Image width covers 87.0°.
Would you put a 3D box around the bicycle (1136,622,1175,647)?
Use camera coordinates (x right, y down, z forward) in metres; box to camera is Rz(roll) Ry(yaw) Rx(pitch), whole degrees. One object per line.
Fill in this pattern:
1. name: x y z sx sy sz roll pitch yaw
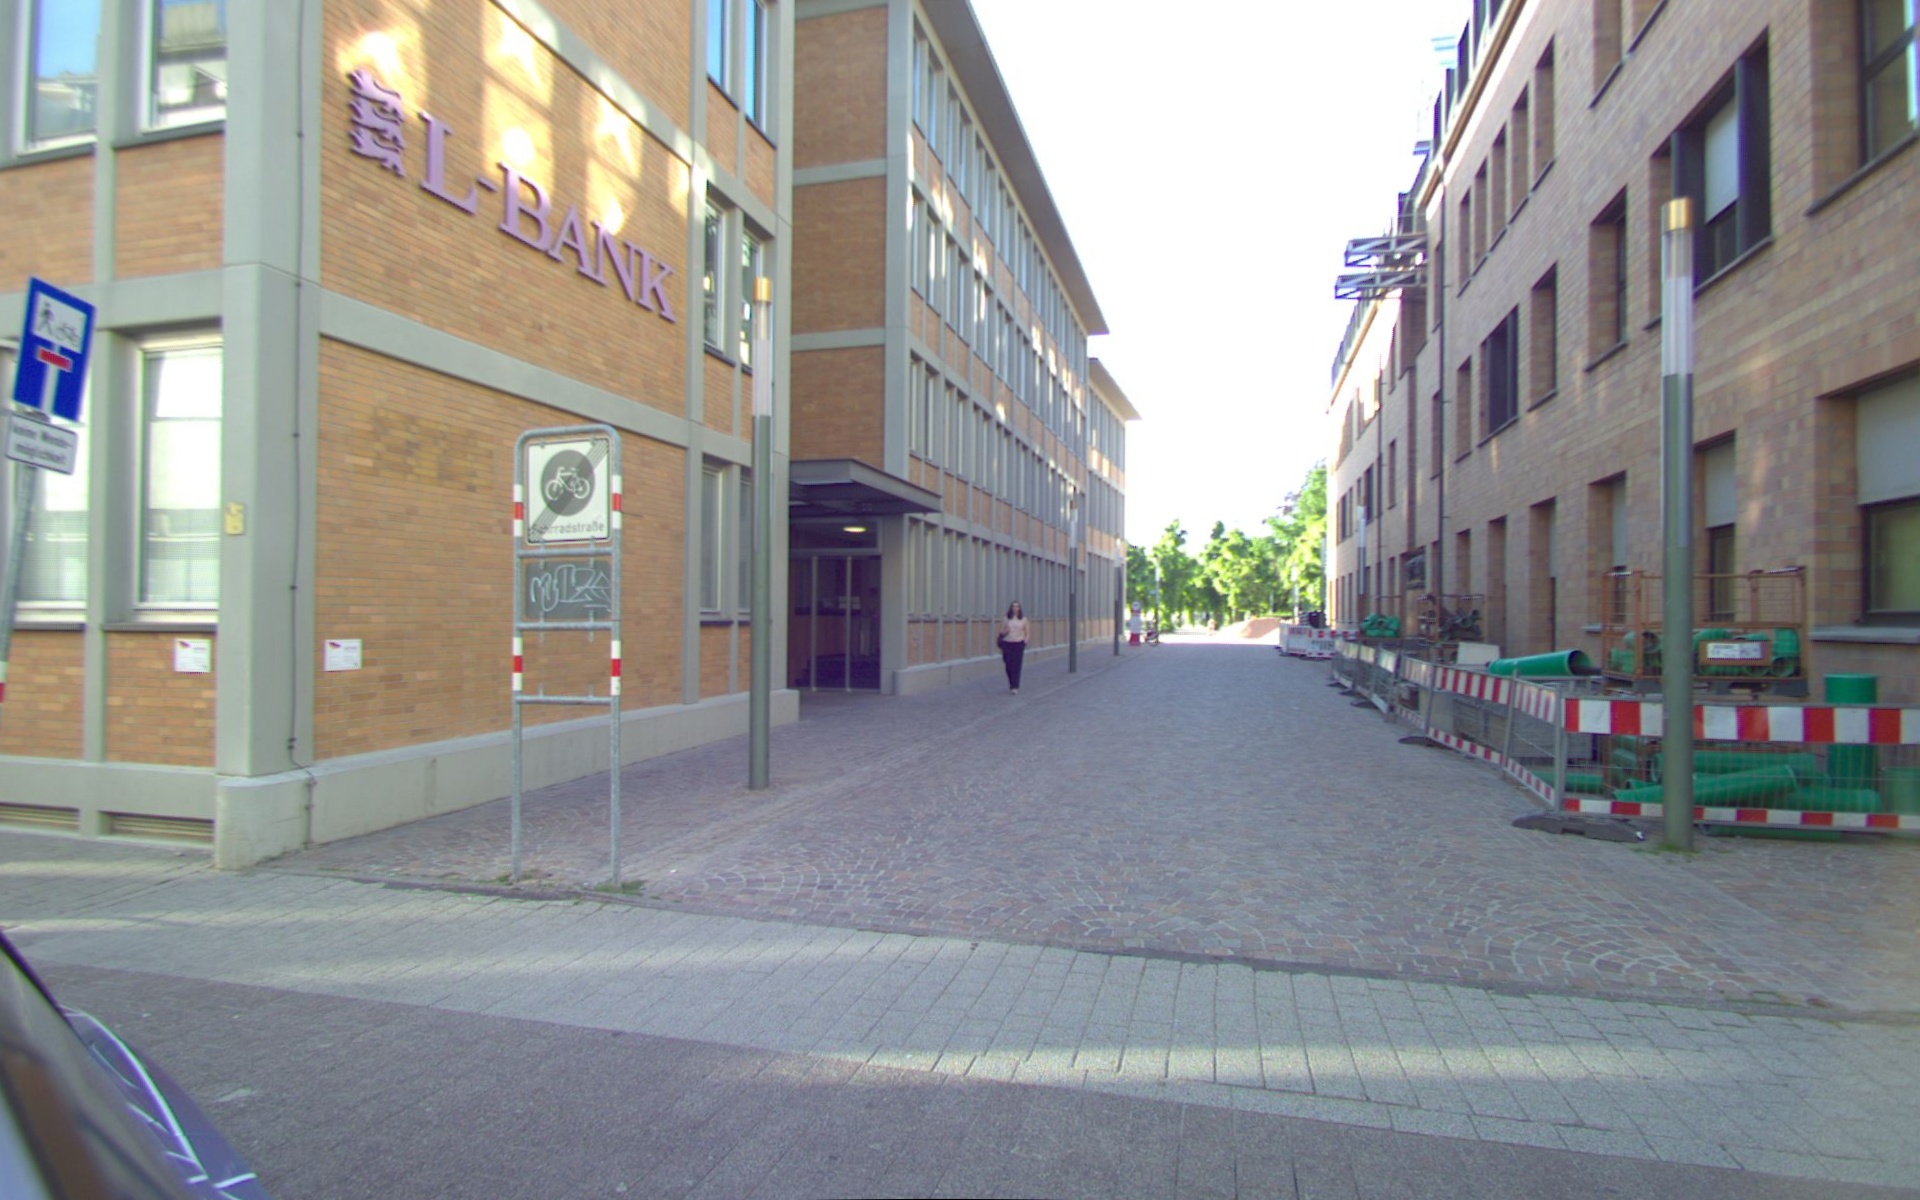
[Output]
1. bicycle: 10.375 1.828 53.690 2.038 1.270 0.726 1 -1 -27

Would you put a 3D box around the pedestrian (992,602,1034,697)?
1. pedestrian: 1.018 0.932 19.482 0.687 1.793 0.694 0 -1 14
